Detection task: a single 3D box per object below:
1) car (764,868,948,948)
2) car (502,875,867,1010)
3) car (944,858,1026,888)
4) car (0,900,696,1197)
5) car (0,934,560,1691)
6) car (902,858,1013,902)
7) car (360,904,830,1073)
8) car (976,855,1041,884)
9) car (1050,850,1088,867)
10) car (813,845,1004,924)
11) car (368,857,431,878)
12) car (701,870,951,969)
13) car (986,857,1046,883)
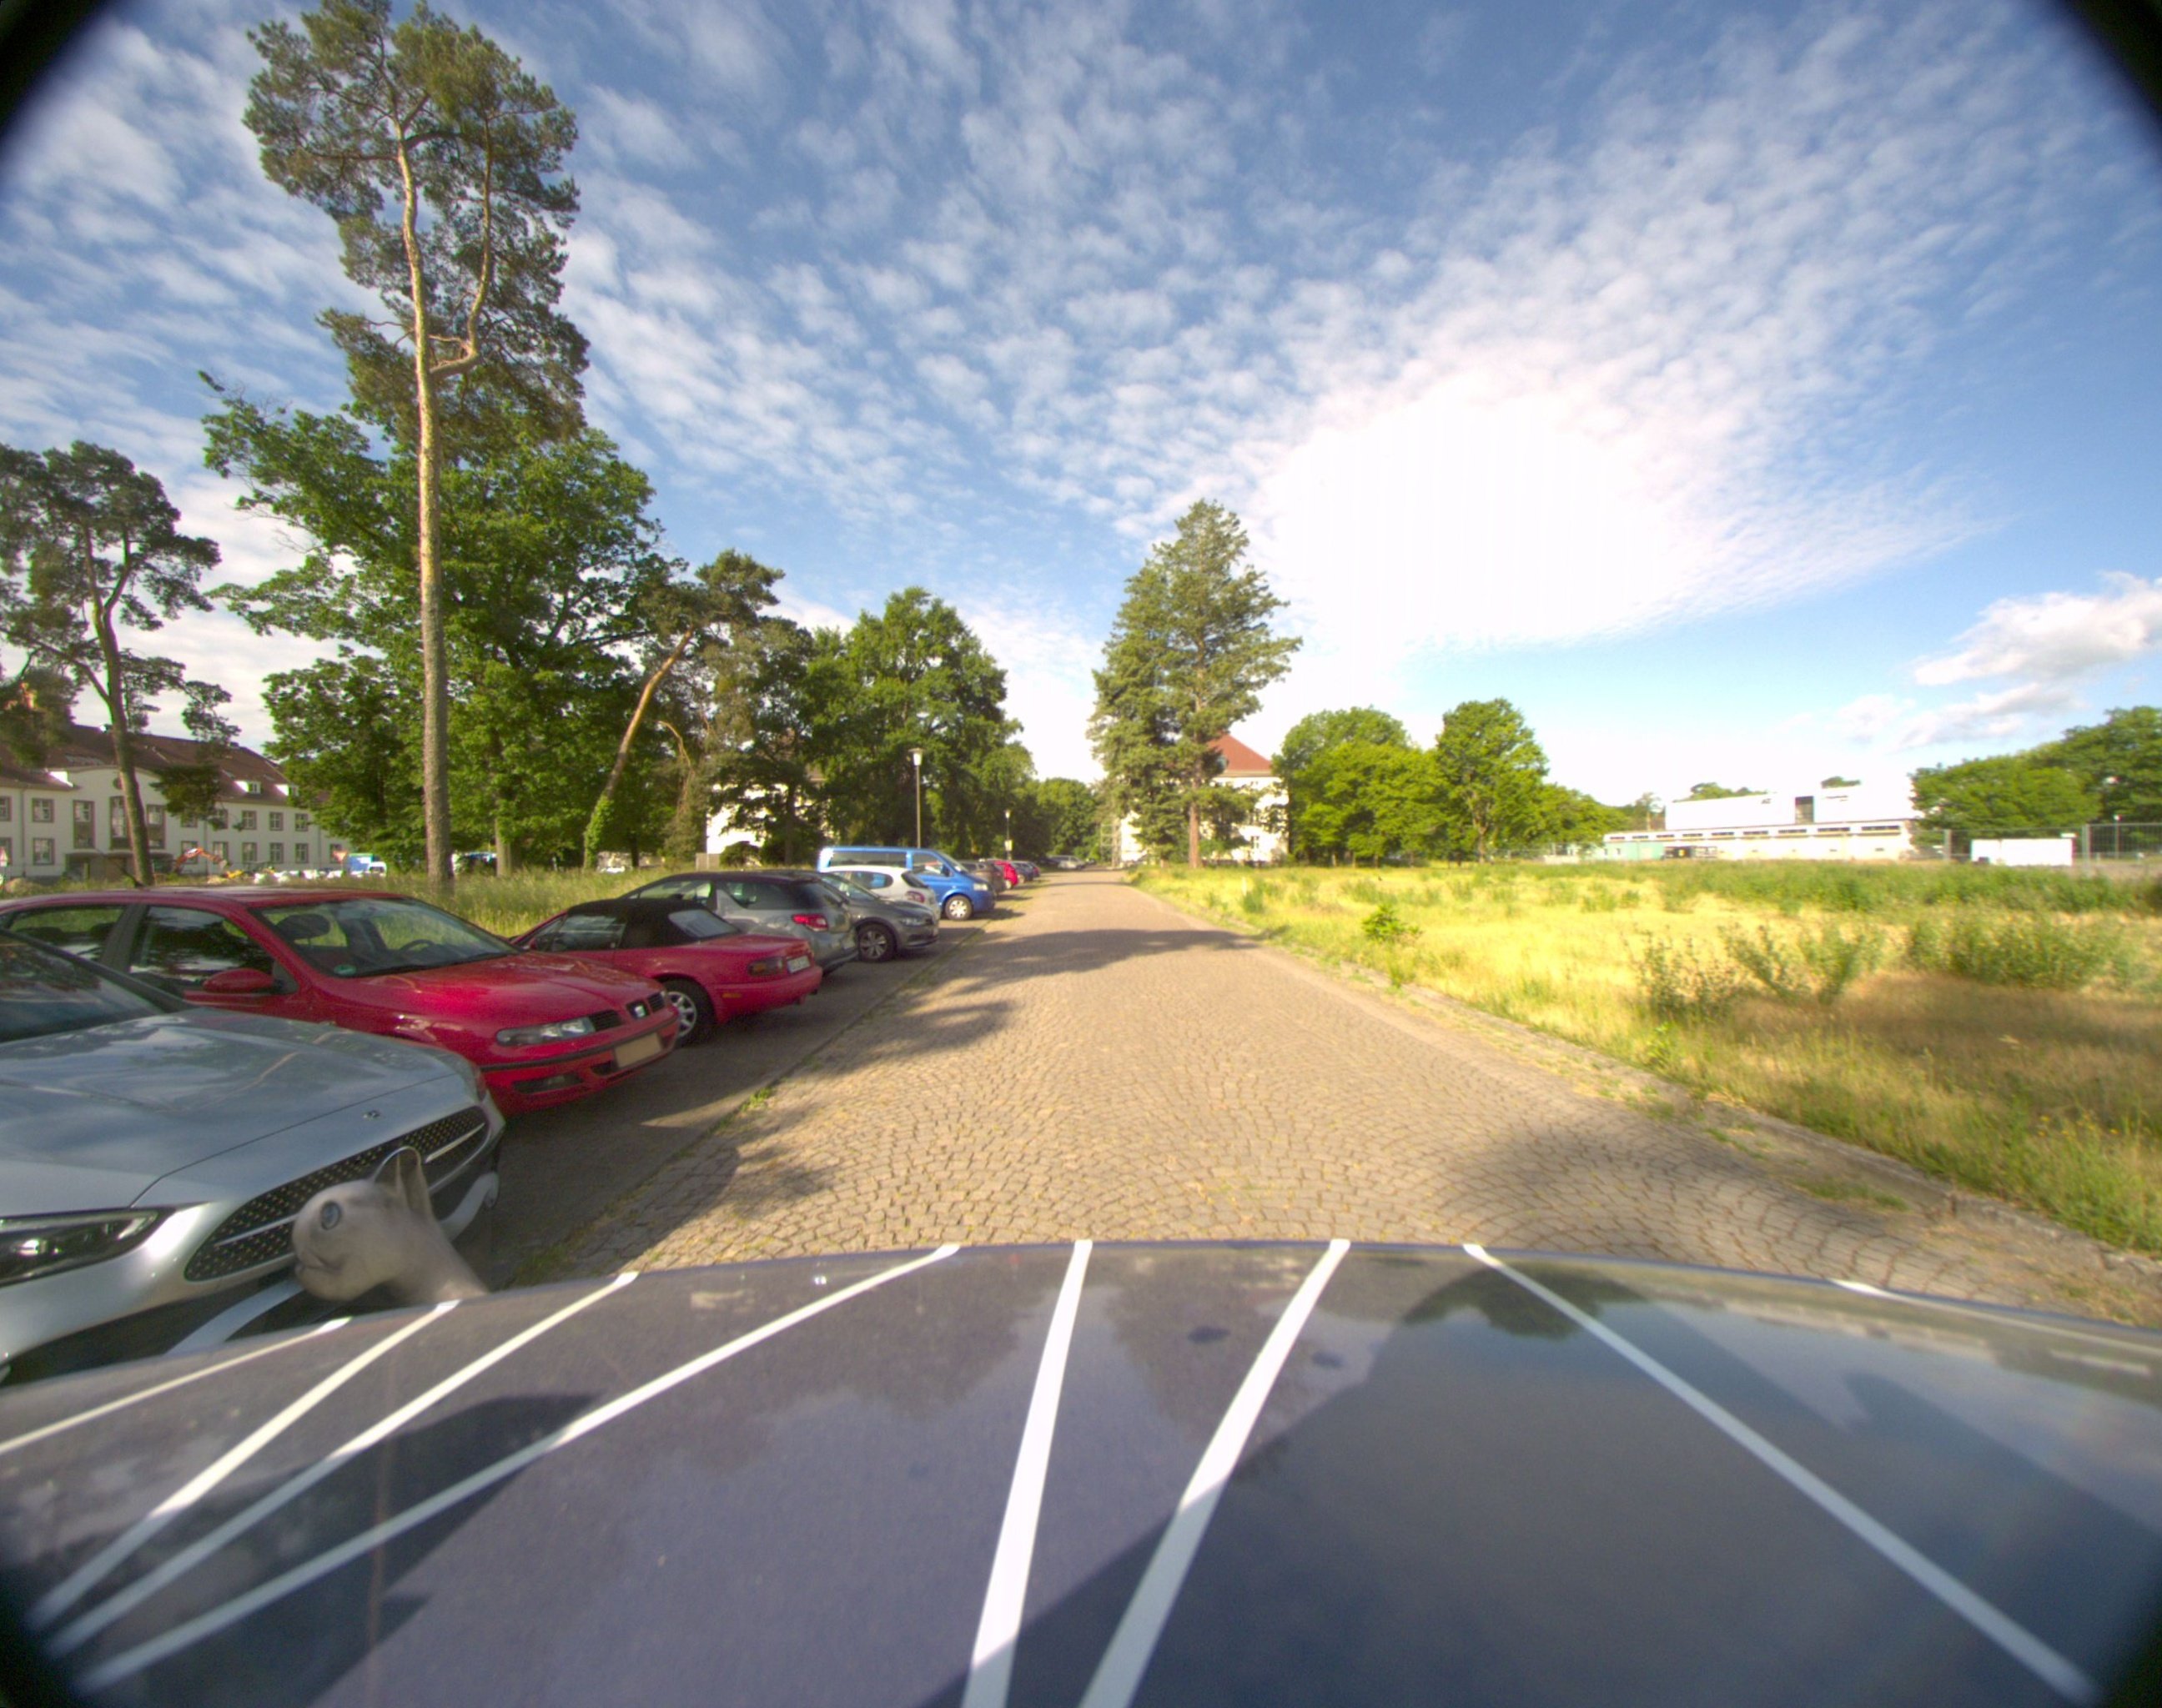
[{"bbox_3d":[-4.490,1.065,15.454,3.264,1.482,1.449,-1,0,2],"label":"car"},{"bbox_3d":[-4.837,1.051,9.636,3.779,1.482,1.549,-1,0,-1],"label":"car"},{"bbox_3d":[-5.035,1.008,40.184,3.996,1.509,1.757,-1,0,3],"label":"car"},{"bbox_3d":[-4.767,1.045,4.693,3.918,1.385,1.661,1,0,-1],"label":"car"},{"bbox_3d":[-4.519,1.052,2.421,4.423,1.394,1.826,1,0,-1],"label":"car"},{"bbox_3d":[-4.779,1.000,29.777,3.996,1.630,1.757,-1,0,3],"label":"car"},{"bbox_3d":[-4.213,1.153,6.946,3.357,1.248,1.420,-1,0,-1],"label":"car"},{"bbox_3d":[-4.788,1.022,50.324,3.996,1.731,1.757,-2,0,3],"label":"car"},{"bbox_3d":[-1.582,0.626,103.785,5.068,2.251,2.000,-1,0,0],"label":"car"},{"bbox_3d":[-4.610,0.793,20.839,4.726,2.002,2.000,-1,0,1],"label":"car"},{"bbox_3d":[-68.810,1.376,76.818,1.998,2.002,4.773,-1,0,1],"label":"car"},{"bbox_3d":[-4.159,1.032,12.603,3.621,1.482,1.509,-1,0,10],"label":"car"},{"bbox_3d":[-4.702,1.124,55.119,3.996,1.605,1.757,-3,1,4],"label":"car"}]
